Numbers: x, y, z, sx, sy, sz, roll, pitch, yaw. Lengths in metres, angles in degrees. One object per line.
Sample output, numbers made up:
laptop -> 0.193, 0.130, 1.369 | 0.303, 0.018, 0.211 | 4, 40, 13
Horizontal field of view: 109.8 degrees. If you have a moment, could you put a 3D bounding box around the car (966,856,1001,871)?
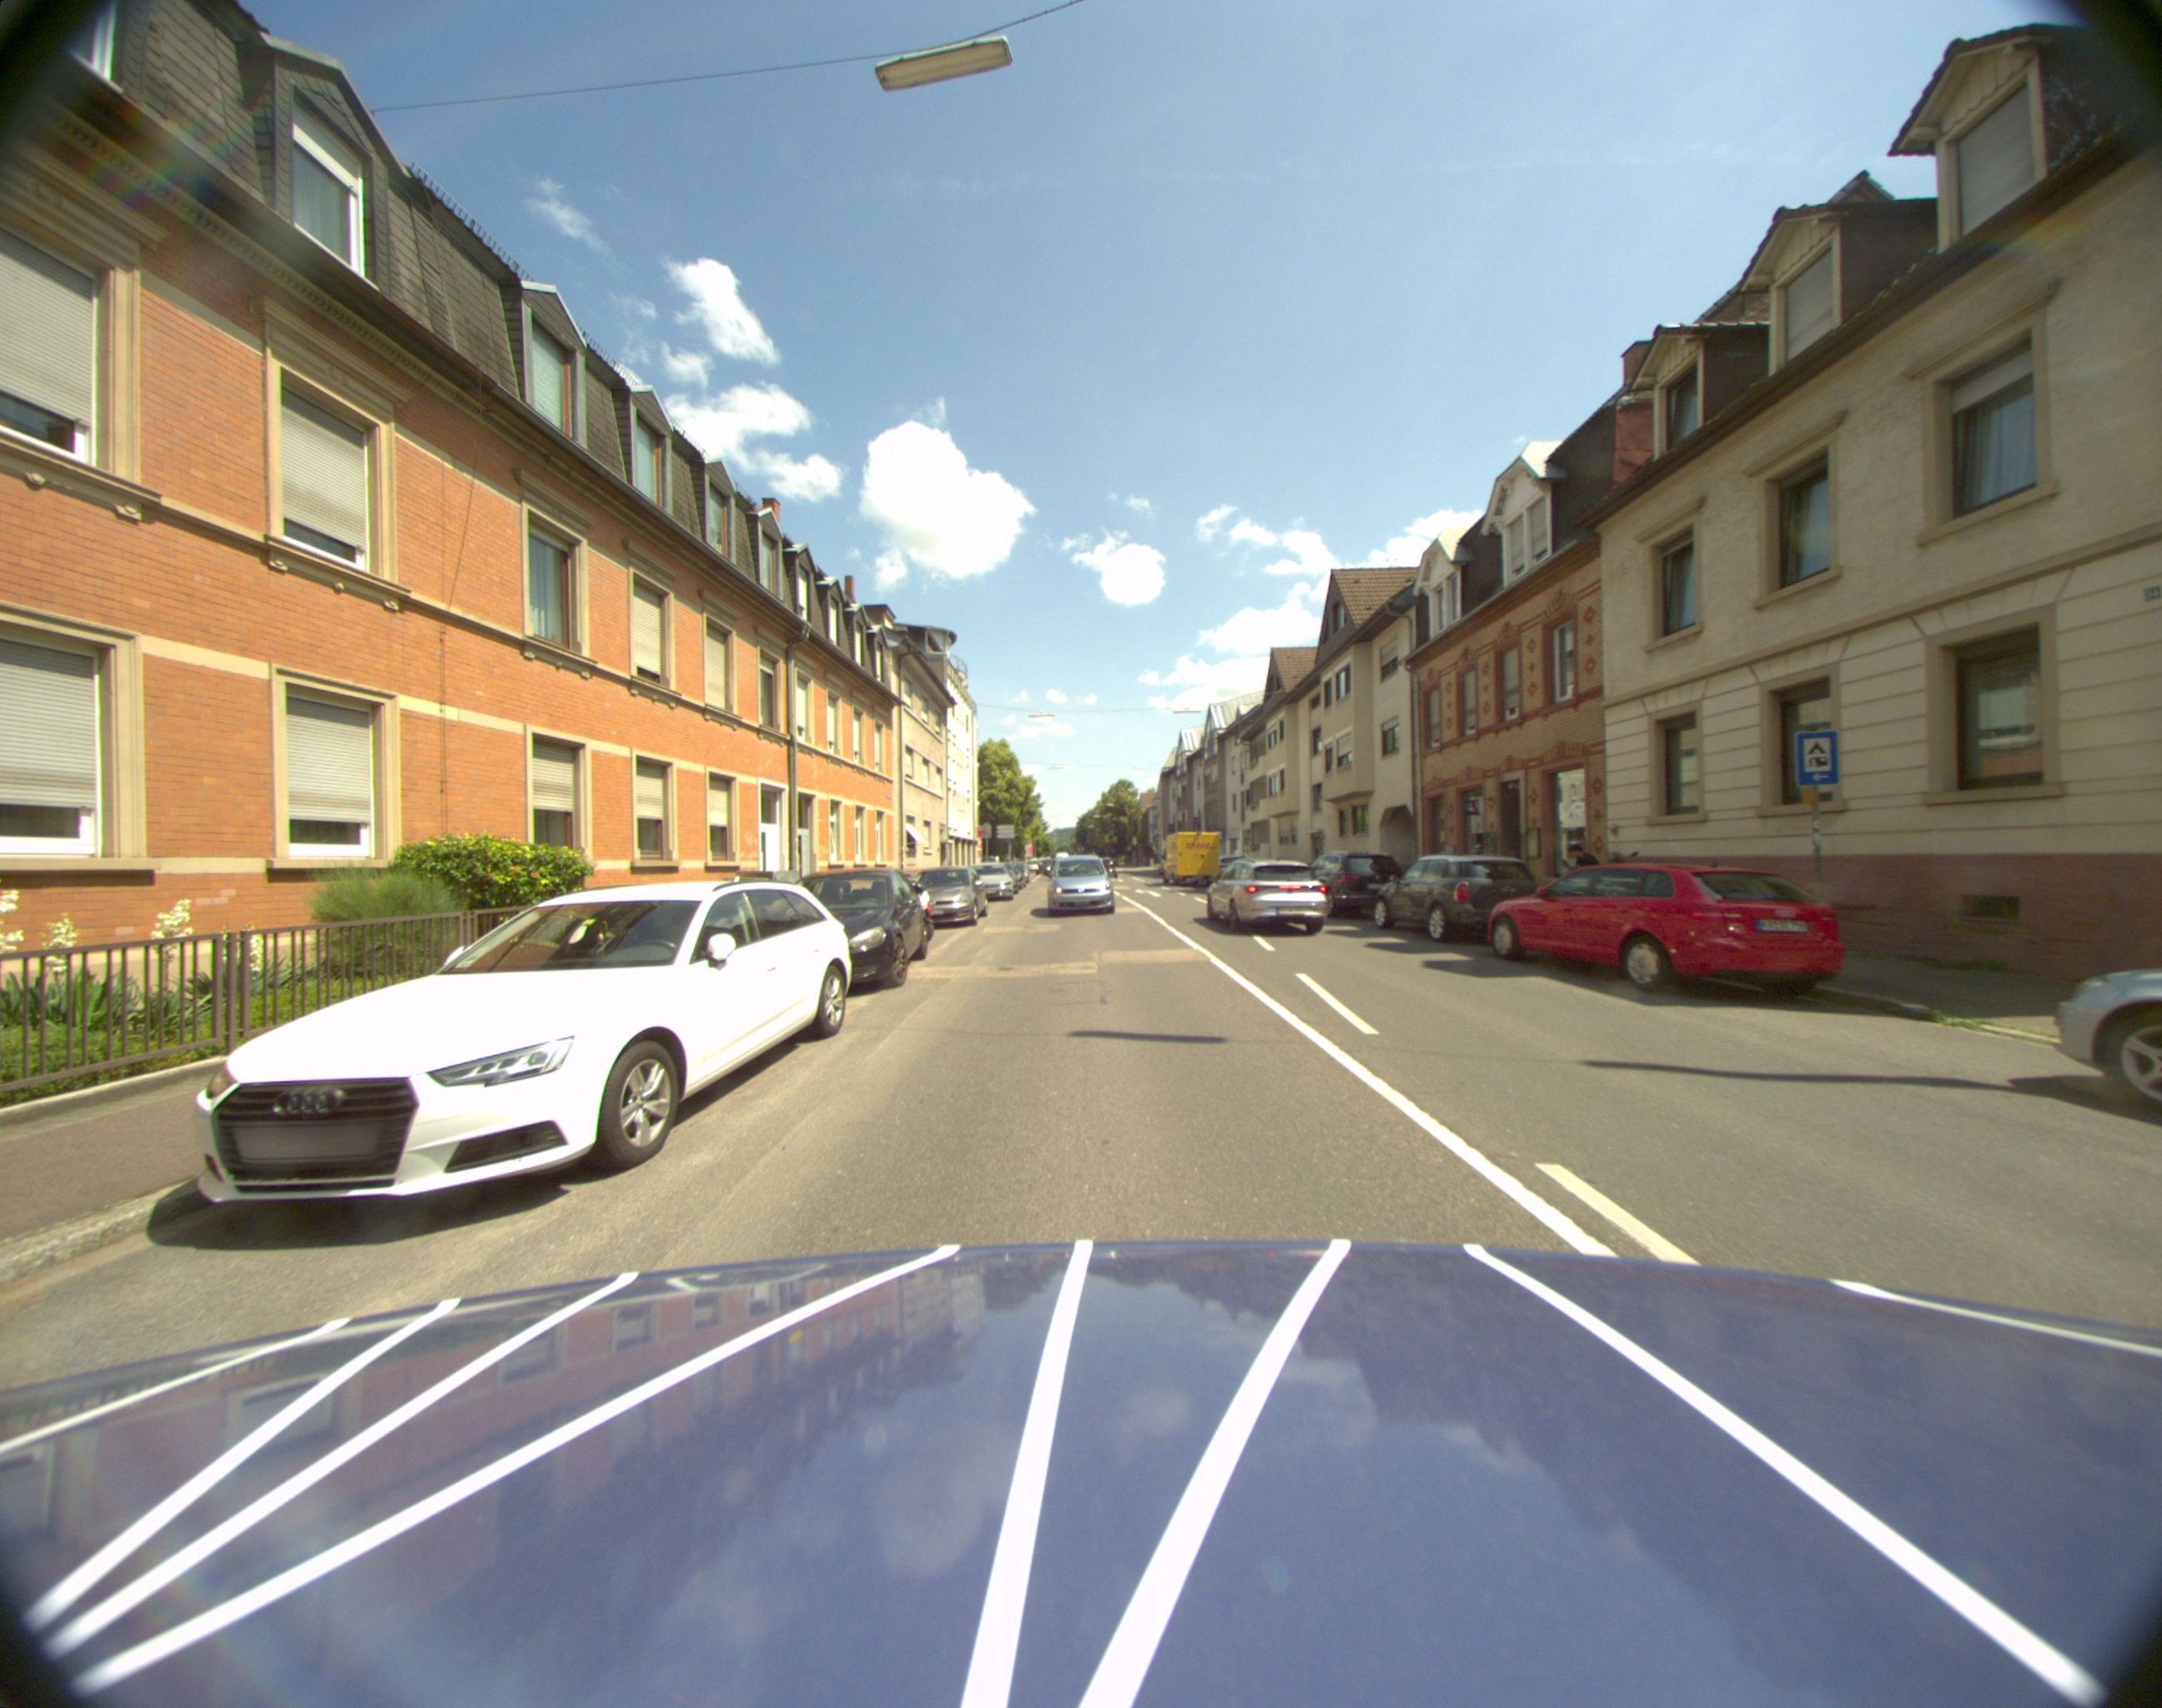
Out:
car -> -10.608, 1.044, 82.689 | 3.775, 1.657, 1.663 | 0, 0, -6

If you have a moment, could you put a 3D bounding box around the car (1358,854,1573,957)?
car -> 7.153, 0.854, 14.765 | 1.844, 1.587, 4.502 | 3, 0, 0

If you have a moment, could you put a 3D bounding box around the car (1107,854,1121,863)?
car -> 5.500, 0.733, 126.435 | 1.891, 1.531, 4.567 | 0, 0, -4

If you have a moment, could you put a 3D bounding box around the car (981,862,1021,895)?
car -> -3.637, 1.082, 34.920 | 1.656, 1.411, 4.047 | -1, 0, -4

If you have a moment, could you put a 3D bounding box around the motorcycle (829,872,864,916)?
motorcycle -> -6.969, 1.170, 22.626 | 0.597, 1.217, 1.361 | -1, 0, 0

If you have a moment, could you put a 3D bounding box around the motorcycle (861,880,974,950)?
motorcycle -> -3.210, 1.153, 14.820 | 1.991, 1.218, 1.115 | -2, 0, 40

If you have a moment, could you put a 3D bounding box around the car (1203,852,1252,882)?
car -> 8.376, 0.706, 43.810 | 1.844, 1.586, 4.385 | -3, 0, -2

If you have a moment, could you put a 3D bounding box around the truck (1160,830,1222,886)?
truck -> 5.854, 0.207, 41.480 | 2.231, 2.755, 7.563 | 1, 0, 0

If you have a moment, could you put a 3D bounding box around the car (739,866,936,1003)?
car -> -3.134, 0.932, 10.731 | 1.653, 1.406, 4.499 | -1, 0, -5

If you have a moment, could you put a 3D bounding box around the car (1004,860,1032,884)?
car -> -4.074, 1.157, 49.635 | 1.682, 1.446, 4.142 | -2, 0, -3

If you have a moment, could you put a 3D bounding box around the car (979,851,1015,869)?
car -> -11.493, 0.823, 104.199 | 4.615, 2.263, 2.105 | -2, 0, -1

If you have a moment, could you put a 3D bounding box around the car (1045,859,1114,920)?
car -> -0.101, 0.910, 21.425 | 1.747, 1.513, 4.222 | 0, 0, -2

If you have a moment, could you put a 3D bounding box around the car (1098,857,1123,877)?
car -> 2.183, 0.928, 56.947 | 1.501, 1.450, 2.721 | 0, 0, -6

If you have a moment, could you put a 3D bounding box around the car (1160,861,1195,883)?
car -> 7.323, 1.351, 58.026 | 1.845, 1.480, 4.385 | -3, 0, -2

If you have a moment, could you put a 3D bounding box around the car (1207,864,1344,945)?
car -> 3.852, 0.940, 15.831 | 1.795, 1.412, 4.315 | 0, 0, 0

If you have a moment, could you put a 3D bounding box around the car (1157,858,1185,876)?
car -> 7.944, 1.153, 67.538 | 1.844, 1.439, 4.968 | -3, 0, 0

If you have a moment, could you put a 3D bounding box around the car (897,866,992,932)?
car -> -3.293, 1.031, 19.089 | 1.705, 1.372, 4.166 | -1, 0, -2

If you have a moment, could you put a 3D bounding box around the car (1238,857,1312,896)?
car -> 8.207, 0.904, 32.629 | 1.844, 1.479, 4.501 | -3, 0, -2

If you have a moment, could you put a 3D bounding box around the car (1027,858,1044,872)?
car -> -5.099, 1.243, 85.299 | 1.772, 1.476, 3.889 | -1, 0, -3

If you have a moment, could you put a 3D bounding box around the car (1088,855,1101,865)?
car -> 2.255, 1.049, 126.117 | 1.817, 1.611, 4.441 | 1, -1, -3

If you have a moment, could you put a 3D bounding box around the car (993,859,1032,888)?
car -> -3.638, 1.015, 40.741 | 1.716, 1.464, 4.438 | 0, 0, -1

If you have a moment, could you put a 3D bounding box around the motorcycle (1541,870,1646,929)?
motorcycle -> 10.136, 0.868, 15.124 | 0.847, 1.072, 1.872 | 0, 0, 1

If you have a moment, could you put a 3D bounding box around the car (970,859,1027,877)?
car -> -6.800, 1.124, 63.045 | 4.594, 1.357, 1.999 | -1, 0, -4

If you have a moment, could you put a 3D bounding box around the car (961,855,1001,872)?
car -> -10.545, 0.968, 80.052 | 3.998, 1.740, 2.016 | -1, 0, -3

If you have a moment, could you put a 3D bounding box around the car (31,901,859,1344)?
car -> -3.100, 1.163, 5.190 | 1.720, 1.406, 4.590 | 0, 0, 1

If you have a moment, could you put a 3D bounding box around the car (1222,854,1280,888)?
car -> 8.380, 0.812, 37.821 | 1.844, 1.479, 4.386 | -3, 0, -1

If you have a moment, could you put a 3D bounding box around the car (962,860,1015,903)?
car -> -3.608, 1.003, 29.739 | 1.859, 1.455, 4.547 | -1, 0, -7

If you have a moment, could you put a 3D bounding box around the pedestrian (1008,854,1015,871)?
pedestrian -> -7.541, 0.931, 82.663 | 0.618, 1.754, 0.737 | -1, 1, -2

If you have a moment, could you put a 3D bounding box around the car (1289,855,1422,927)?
car -> 6.988, 0.866, 19.899 | 1.844, 1.587, 4.502 | 2, 0, 0

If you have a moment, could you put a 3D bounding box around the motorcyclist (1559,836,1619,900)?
motorcyclist -> 10.058, 0.273, 15.073 | 0.720, 1.241, 0.712 | 0, 0, 0

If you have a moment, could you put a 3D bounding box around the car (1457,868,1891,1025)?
car -> 6.934, 0.953, 9.688 | 1.845, 1.414, 4.501 | 2, 0, -3

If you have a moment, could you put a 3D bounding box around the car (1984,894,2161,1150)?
car -> 7.104, 1.012, 2.937 | 1.844, 1.414, 4.502 | 2, 0, 0

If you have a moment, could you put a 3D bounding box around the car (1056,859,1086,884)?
car -> -0.706, 1.229, 55.025 | 1.998, 1.652, 4.625 | 0, 0, 1

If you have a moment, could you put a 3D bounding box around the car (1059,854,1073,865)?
car -> -1.956, 0.740, 100.355 | 1.720, 1.406, 4.590 | 0, 0, 1
